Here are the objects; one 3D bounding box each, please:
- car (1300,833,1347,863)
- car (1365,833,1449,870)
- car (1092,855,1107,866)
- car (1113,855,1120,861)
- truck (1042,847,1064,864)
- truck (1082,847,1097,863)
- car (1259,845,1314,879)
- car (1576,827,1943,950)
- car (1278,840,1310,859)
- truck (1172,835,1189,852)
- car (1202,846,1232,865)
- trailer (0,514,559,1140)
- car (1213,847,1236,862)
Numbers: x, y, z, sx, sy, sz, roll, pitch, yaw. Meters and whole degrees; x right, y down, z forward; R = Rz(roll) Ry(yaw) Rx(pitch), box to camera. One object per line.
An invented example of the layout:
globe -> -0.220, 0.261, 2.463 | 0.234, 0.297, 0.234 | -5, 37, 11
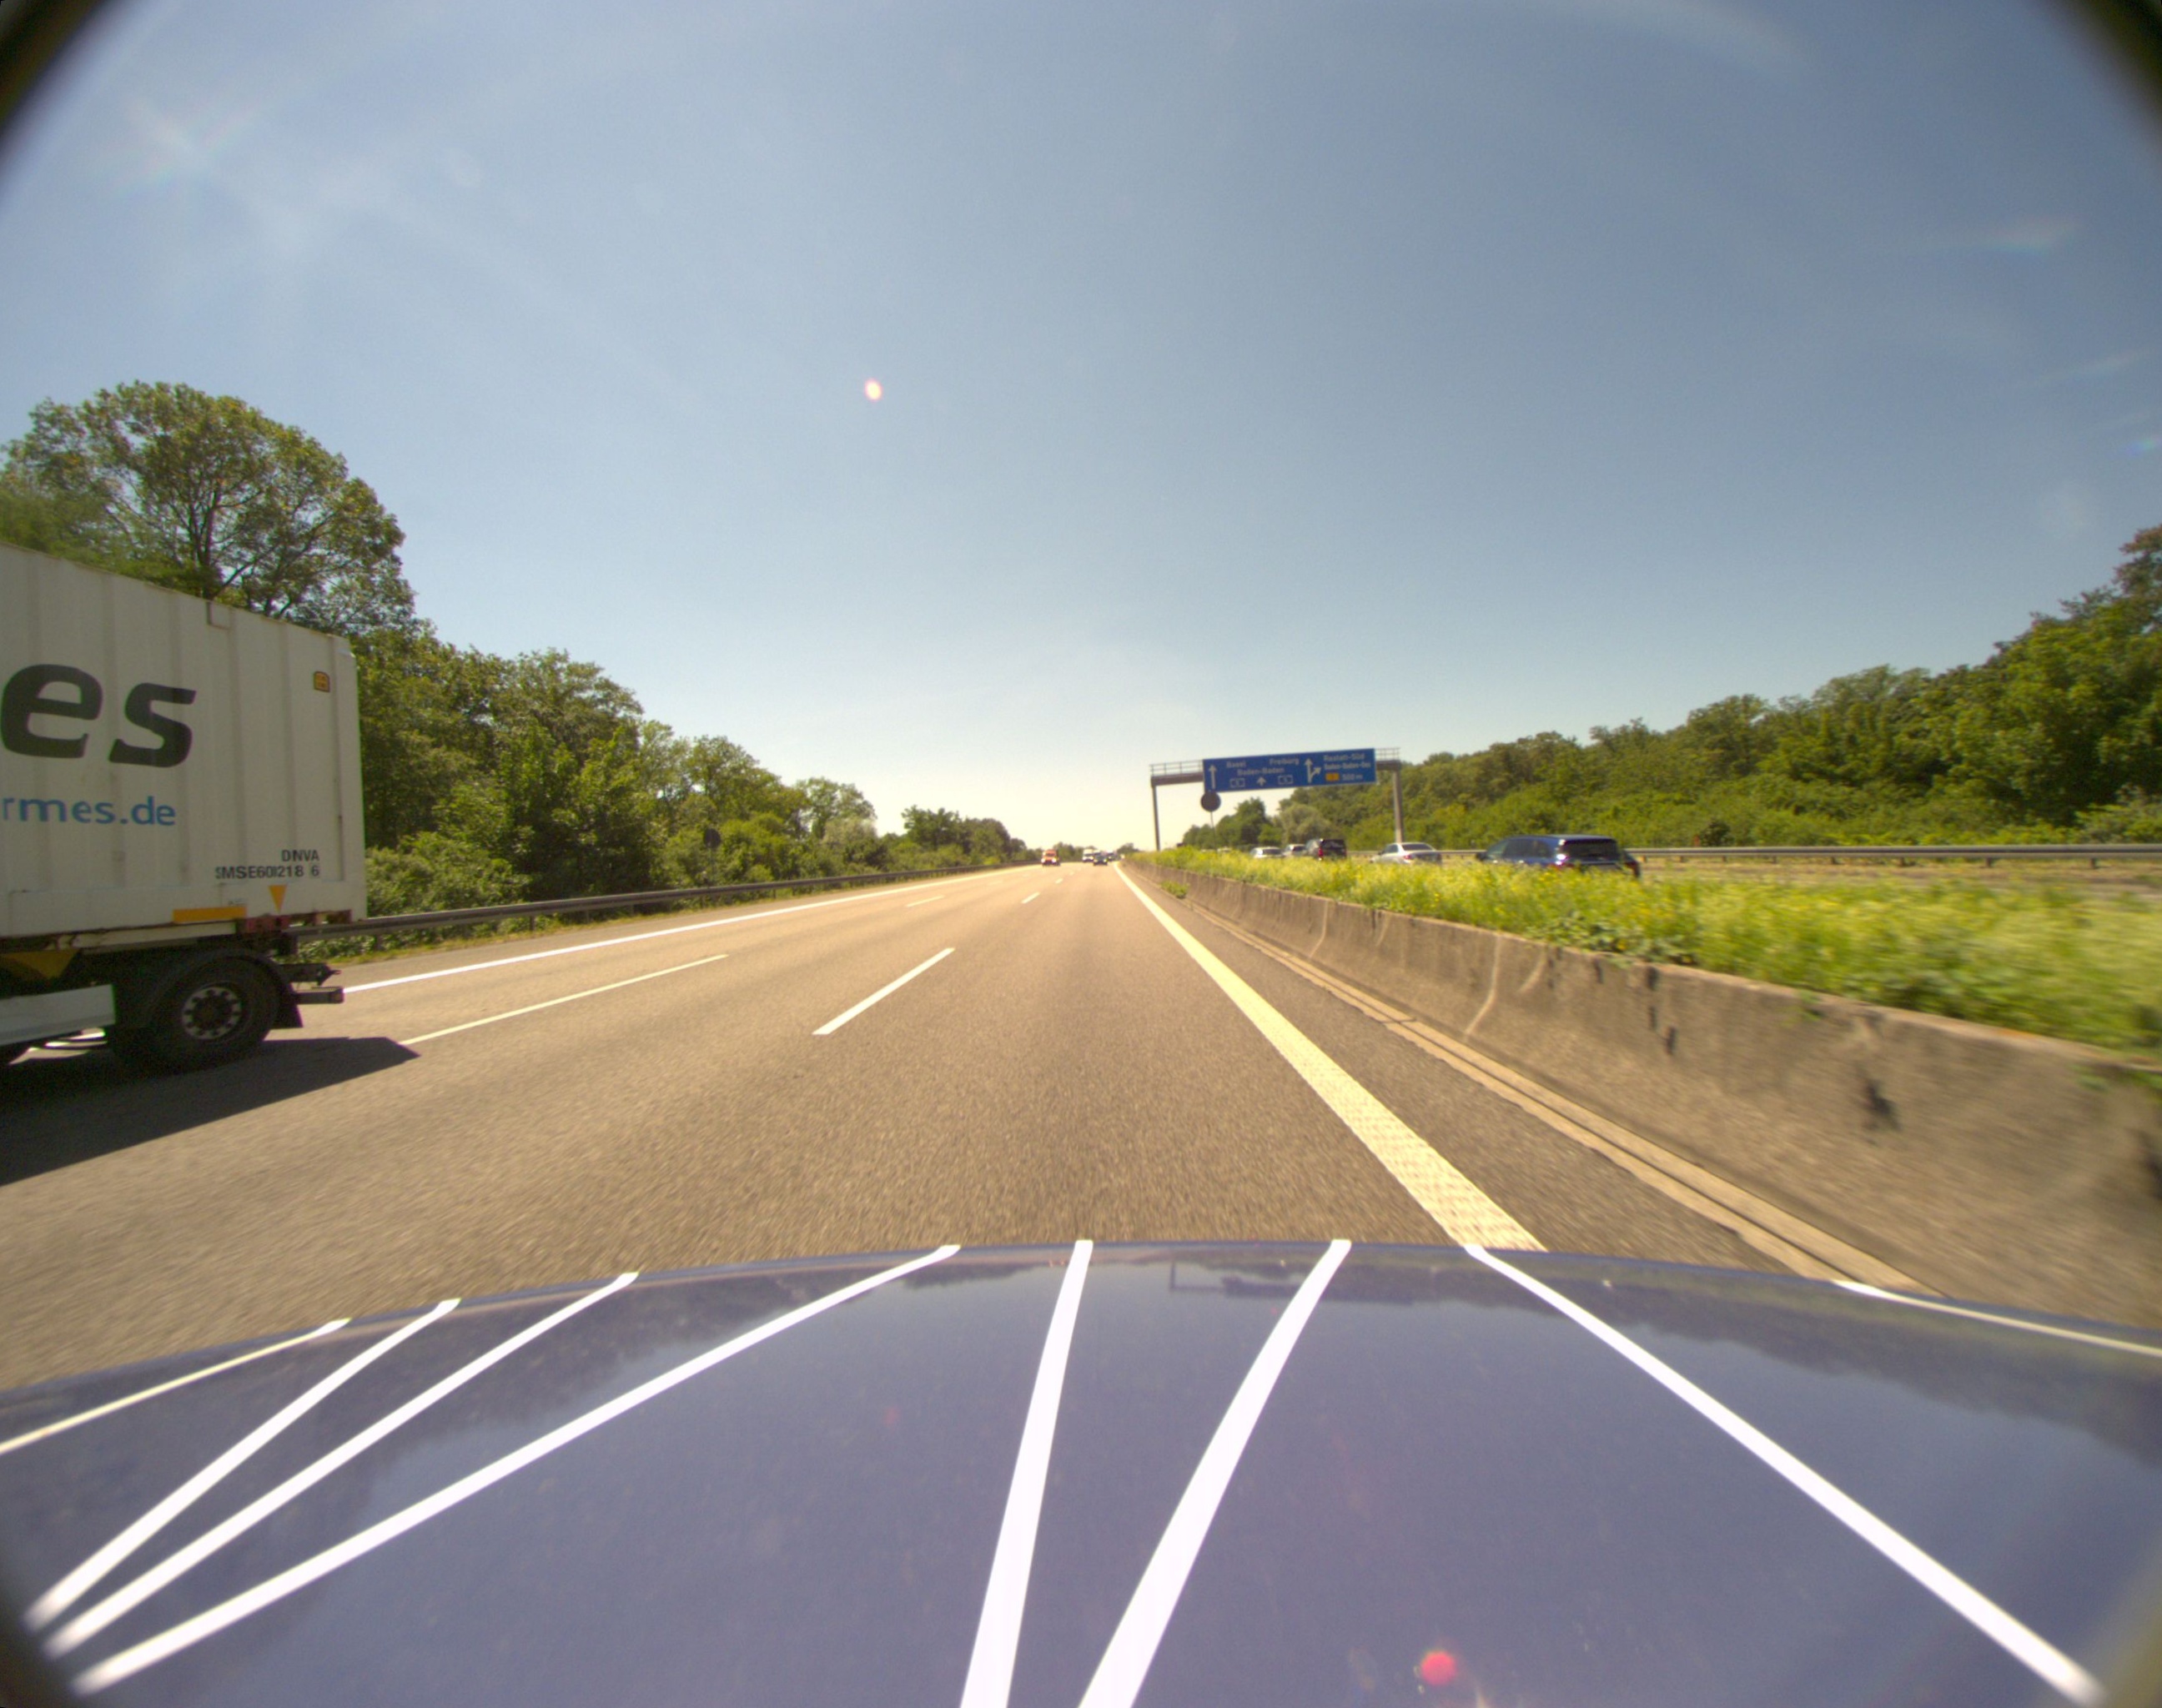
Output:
car -> 16.057, -0.423, 50.601 | 1.701, 1.833, 4.888 | -2, 1, 3
car -> 14.143, -0.124, 33.254 | 1.701, 1.466, 4.719 | -2, 1, 1
car -> 2.485, 0.915, 102.997 | 1.800, 1.390, 4.833 | -2, 0, 1
car -> 10.290, 1.039, 219.640 | 1.879, 1.630, 4.000 | -2, 0, 2
truck -> -4.317, 0.192, 117.897 | 2.436, 2.426, 10.010 | -2, 0, 3
truck -> 1.796, 0.147, 156.679 | 2.859, 3.163, 10.711 | -2, 0, 1
car -> 9.633, 0.349, 35.887 | 1.570, 1.477, 4.000 | -2, 0, 1
car -> 9.355, 0.396, 11.006 | 1.654, 1.390, 3.999 | -2, 1, -1
car -> 18.219, -0.408, 65.229 | 1.574, 1.545, 4.081 | -2, 0, 1
truck -> 26.487, -2.733, 202.543 | 3.185, 4.206, 14.498 | -2, 0, 3
car -> 10.592, 0.088, 59.348 | 1.702, 1.374, 3.643 | -2, 1, 1
trailer -> -8.252, -0.140, 4.231 | 2.561, 4.036, 11.262 | -2, 1, 1
car -> 15.267, 0.026, 80.942 | 1.639, 1.565, 4.000 | -2, 0, 1
